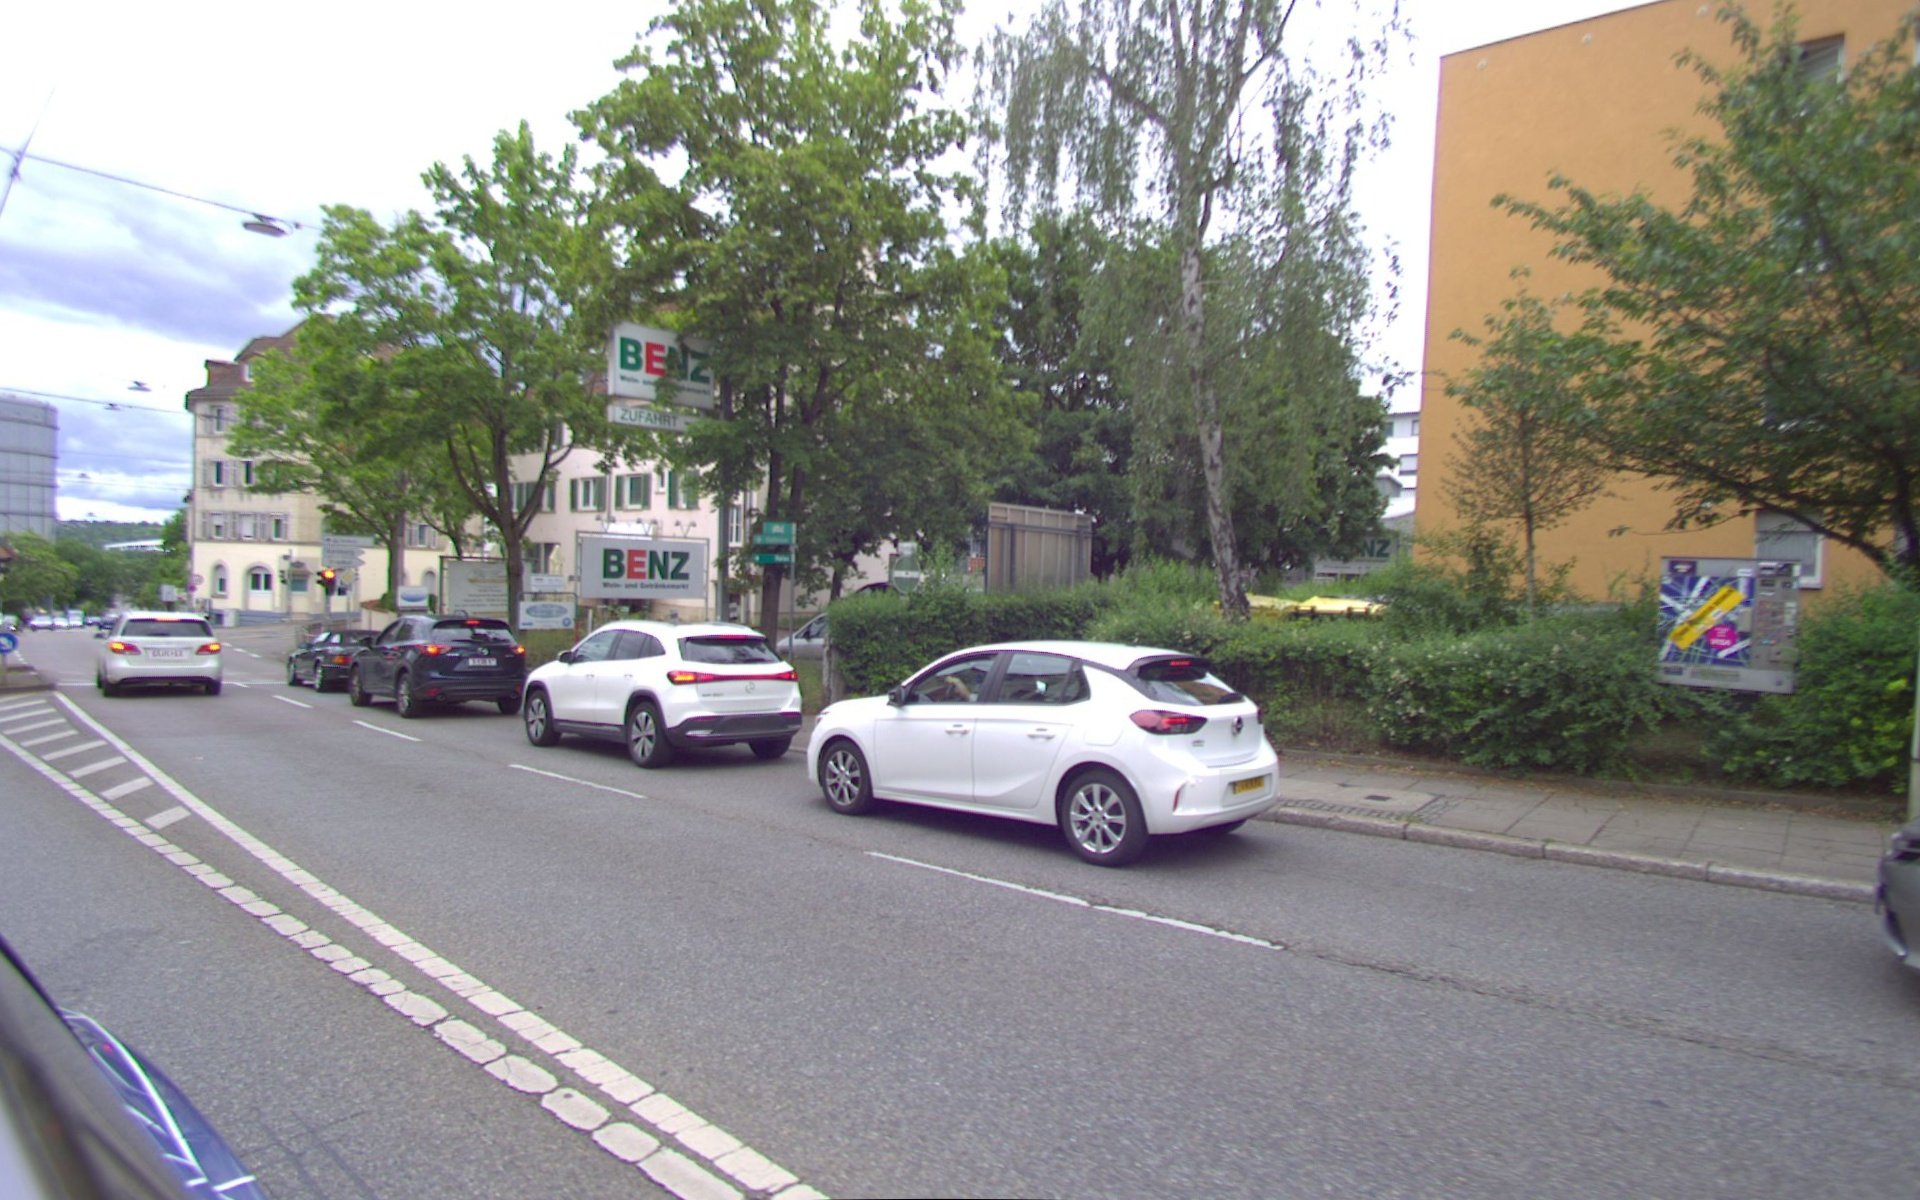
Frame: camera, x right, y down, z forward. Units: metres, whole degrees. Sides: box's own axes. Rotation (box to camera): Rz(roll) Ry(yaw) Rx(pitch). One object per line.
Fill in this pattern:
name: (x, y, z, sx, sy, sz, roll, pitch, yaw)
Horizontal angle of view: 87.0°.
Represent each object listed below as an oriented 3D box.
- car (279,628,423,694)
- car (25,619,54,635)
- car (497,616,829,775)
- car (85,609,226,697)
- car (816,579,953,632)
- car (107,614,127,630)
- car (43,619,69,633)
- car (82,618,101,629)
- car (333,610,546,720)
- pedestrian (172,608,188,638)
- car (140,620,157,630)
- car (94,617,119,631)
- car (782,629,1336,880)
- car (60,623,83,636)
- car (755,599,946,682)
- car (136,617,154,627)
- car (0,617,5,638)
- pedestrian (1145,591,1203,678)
car: (-13.441, 1.297, 22.236, 1.780, 1.291, 4.240, 4, -3, -44)
car: (-102.122, 2.989, 112.296, 1.967, 1.612, 4.009, -2, 0, -36)
car: (-3.806, 1.037, 12.506, 4.499, 1.606, 1.929, -1, -3, 44)
car: (-15.974, 1.001, 20.020, 1.754, 1.558, 4.329, 4, -3, -43)
car: (-2.838, 0.205, 37.234, 4.900, 1.817, 2.041, -1, 0, 37)
car: (-106.847, 2.780, 128.287, 1.841, 1.898, 4.293, 3, -3, -39)
car: (-113.262, 3.236, 126.813, 1.967, 1.612, 4.009, -2, 0, -36)
car: (-138.399, 3.752, 161.206, 1.967, 1.612, 4.009, -2, 0, -36)
car: (-9.083, 1.050, 17.489, 4.415, 1.655, 1.929, -1, -3, 44)
pedestrian: (-52.146, 1.530, 67.658, 0.735, 1.951, 0.905, -3, 1, -38)
car: (-137.806, 4.262, 171.910, 1.967, 1.612, 4.009, -2, 0, -36)
car: (-90.683, 2.530, 107.581, 1.731, 1.458, 3.760, -1, 0, -36)
car: (0.596, 0.986, 7.980, 4.073, 1.423, 1.819, -1, -3, 43)
car: (-124.146, 4.101, 141.440, 1.967, 1.612, 4.009, -2, 0, -36)
car: (-2.353, 0.789, 21.201, 3.998, 1.512, 1.690, -1, 2, 41)
car: (-131.405, 3.542, 163.176, 1.967, 1.612, 4.009, -2, 0, -36)
car: (-79.247, 2.260, 82.147, 1.967, 1.642, 4.419, -1, 1, -36)
pedestrian: (4.024, 0.625, 18.986, 0.790, 1.572, 0.783, 1, 1, 38)
